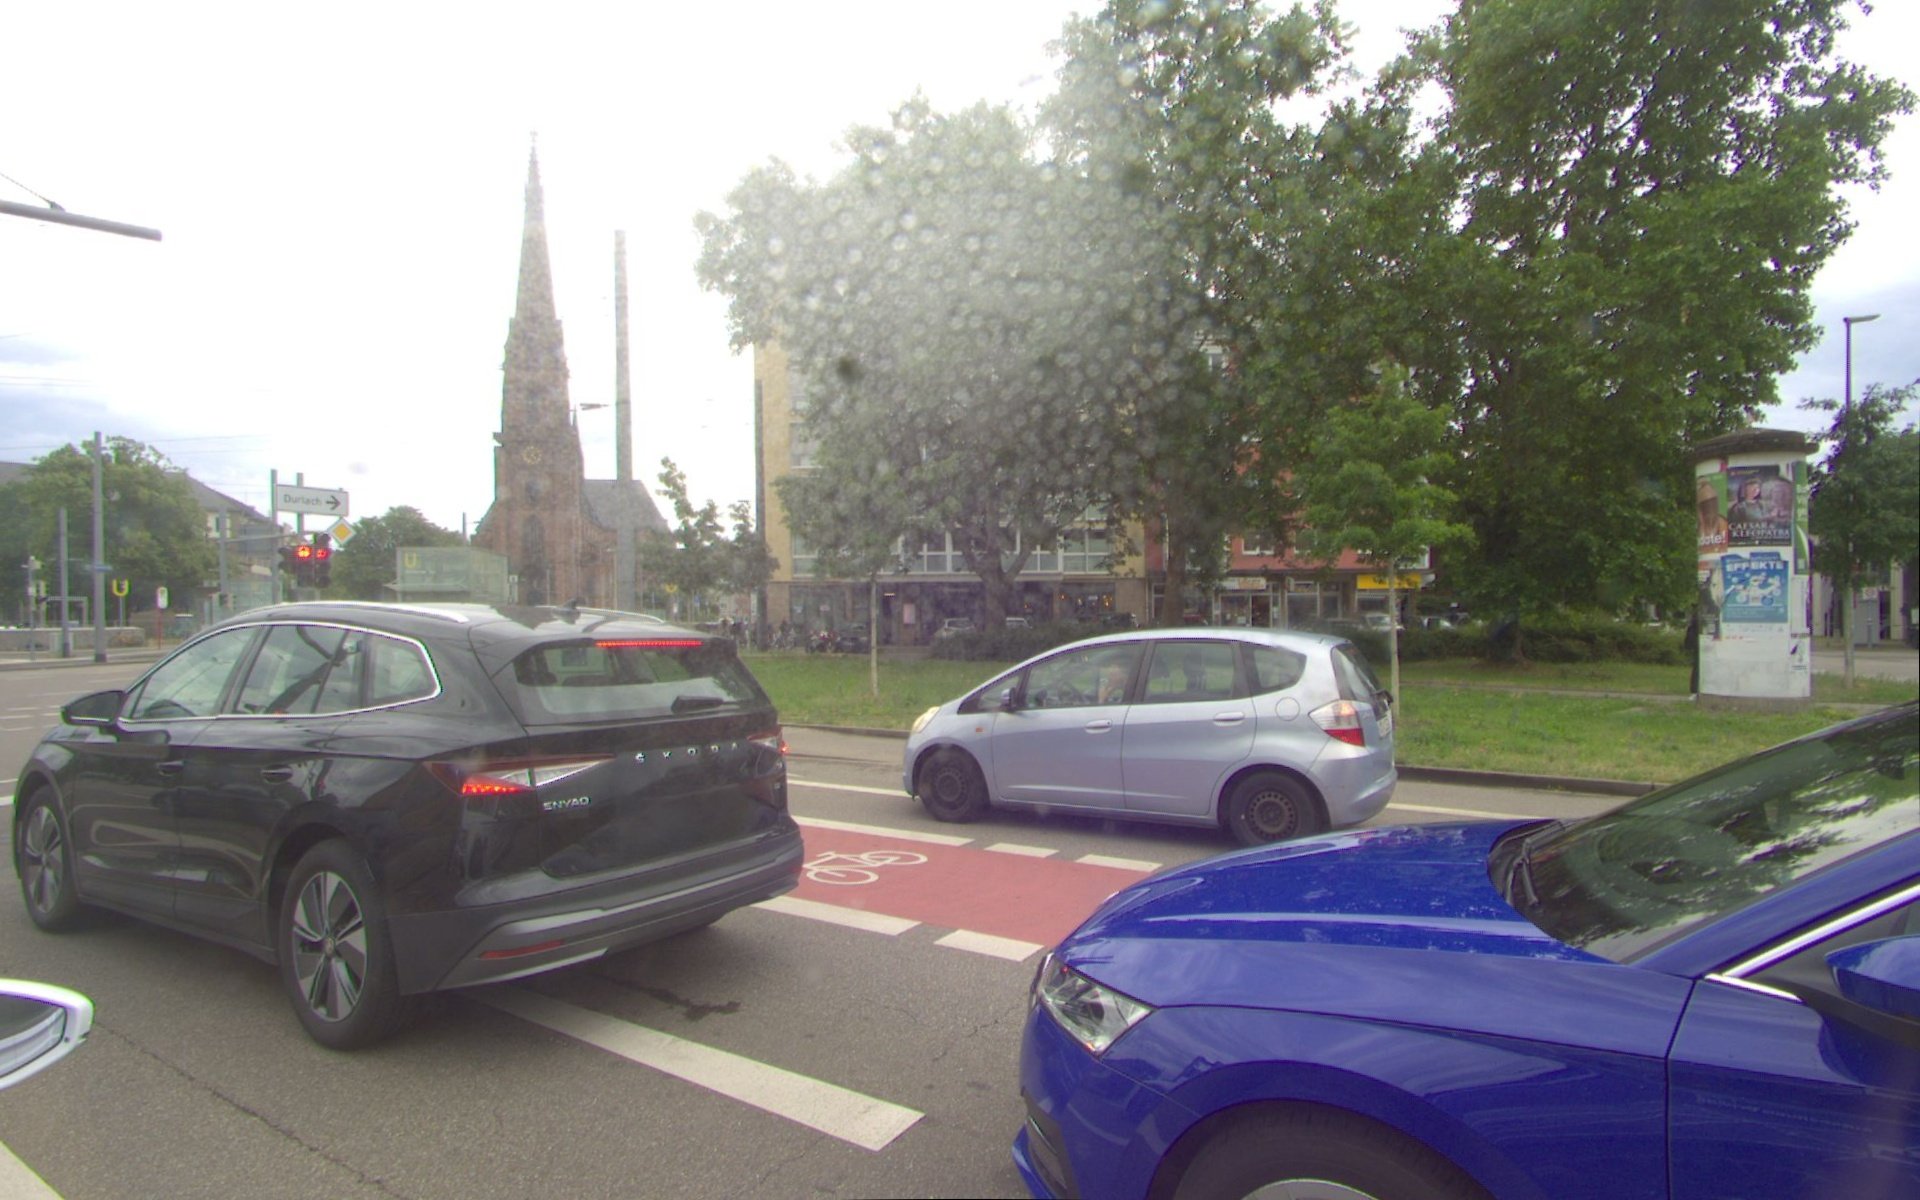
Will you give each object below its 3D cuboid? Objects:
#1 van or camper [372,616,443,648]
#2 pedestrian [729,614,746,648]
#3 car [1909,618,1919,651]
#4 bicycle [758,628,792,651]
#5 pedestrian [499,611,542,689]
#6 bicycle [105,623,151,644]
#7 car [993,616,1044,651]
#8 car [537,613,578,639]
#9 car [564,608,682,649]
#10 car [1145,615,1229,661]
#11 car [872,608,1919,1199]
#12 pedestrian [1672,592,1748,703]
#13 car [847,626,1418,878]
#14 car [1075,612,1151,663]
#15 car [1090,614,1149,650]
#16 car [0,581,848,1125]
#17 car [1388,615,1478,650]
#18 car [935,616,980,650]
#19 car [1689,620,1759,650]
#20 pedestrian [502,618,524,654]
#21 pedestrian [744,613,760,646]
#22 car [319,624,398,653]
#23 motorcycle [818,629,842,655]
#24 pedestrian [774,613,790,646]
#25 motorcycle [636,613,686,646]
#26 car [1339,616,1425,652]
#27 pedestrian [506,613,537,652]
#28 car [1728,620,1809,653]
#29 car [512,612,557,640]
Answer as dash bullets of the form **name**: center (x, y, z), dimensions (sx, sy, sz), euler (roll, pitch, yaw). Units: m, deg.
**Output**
- **van or camper**: center (-33.035, 1.898, 60.005), dimensions (1.961, 1.764, 4.305), euler (-2, -1, -3)
- **pedestrian**: center (-10.838, 1.503, 48.854), dimensions (0.625, 1.659, 0.872), euler (0, 0, 0)
- **car**: center (46.492, 1.606, 46.352), dimensions (1.865, 1.568, 4.469), euler (-2, -1, 17)
- **bicycle**: center (-7.461, 1.602, 40.461), dimensions (1.240, 0.929, 0.595), euler (0, 0, 2)
- **pedestrian**: center (-11.309, 1.262, 25.819), dimensions (0.874, 1.956, 1.016), euler (0, 0, -16)
- **bicycle**: center (-55.448, 2.237, 66.741), dimensions (0.699, 1.348, 2.252), euler (-2, -1, 39)
- **car**: center (2.656, 1.511, 46.204), dimensions (1.825, 1.509, 4.476), euler (0, -1, -3)
- **car**: center (-32.573, 2.063, 81.048), dimensions (1.961, 2.040, 4.000), euler (0, -1, -5)
- **car**: center (-18.111, 1.486, 53.946), dimensions (5.674, 2.039, 2.011), euler (-1, -1, -40)
- **car**: center (8.222, 1.346, 36.679), dimensions (1.825, 1.568, 4.476), euler (0, -1, -3)
- **car**: center (2.142, 0.763, 1.689), dimensions (4.402, 1.508, 1.776), euler (-1, -1, 32)
- **pedestrian**: center (12.920, 0.800, 17.254), dimensions (0.968, 1.868, 0.536), euler (0, 0, -11)
- **car**: center (1.250, 0.954, 7.791), dimensions (4.039, 1.486, 1.746), euler (-1, -1, 32)
- **car**: center (5.487, 1.329, 36.481), dimensions (1.825, 1.745, 4.476), euler (0, -1, -3)
- **car**: center (7.368, 1.467, 46.701), dimensions (1.825, 1.568, 4.476), euler (0, -1, -3)
- **car**: center (-2.853, 0.796, 4.906), dimensions (4.444, 1.617, 1.774), euler (-1, -1, 31)
- **car**: center (21.963, 1.479, 46.688), dimensions (1.825, 1.568, 4.476), euler (0, -1, -5)
- **car**: center (-0.162, 1.501, 46.156), dimensions (1.825, 1.509, 4.476), euler (0, -1, -3)
- **car**: center (45.350, 2.036, 59.566), dimensions (1.828, 1.644, 4.469), euler (-2, -1, 17)
- **pedestrian**: center (-20.716, 1.654, 46.436), dimensions (0.625, 1.659, 0.872), euler (0, 0, -1)
- **pedestrian**: center (-10.377, 1.478, 50.036), dimensions (0.625, 1.659, 0.872), euler (0, 0, -1)
- **car**: center (-32.270, 2.032, 53.877), dimensions (1.740, 1.483, 4.001), euler (-2, -1, 1)
- **motorcycle**: center (-5.139, 1.642, 39.639), dimensions (0.858, 1.010, 1.014), euler (0, -1, -12)
- **pedestrian**: center (-8.821, 1.461, 49.611), dimensions (0.625, 1.659, 0.872), euler (0, 0, 0)
- **motorcycle**: center (-11.128, 1.094, 37.338), dimensions (0.753, 1.183, 2.385), euler (0, -1, 12)
- **car**: center (19.496, 1.543, 46.452), dimensions (1.825, 1.568, 4.476), euler (0, -1, -5)
- **pedestrian**: center (-21.139, 1.547, 48.241), dimensions (1.066, 1.820, 0.947), euler (-1, -1, -3)
- **car**: center (43.515, 1.958, 54.028), dimensions (1.828, 1.644, 4.469), euler (-2, -1, 17)
- **car**: center (-32.485, 1.983, 76.497), dimensions (1.961, 2.040, 4.000), euler (0, -1, -5)
